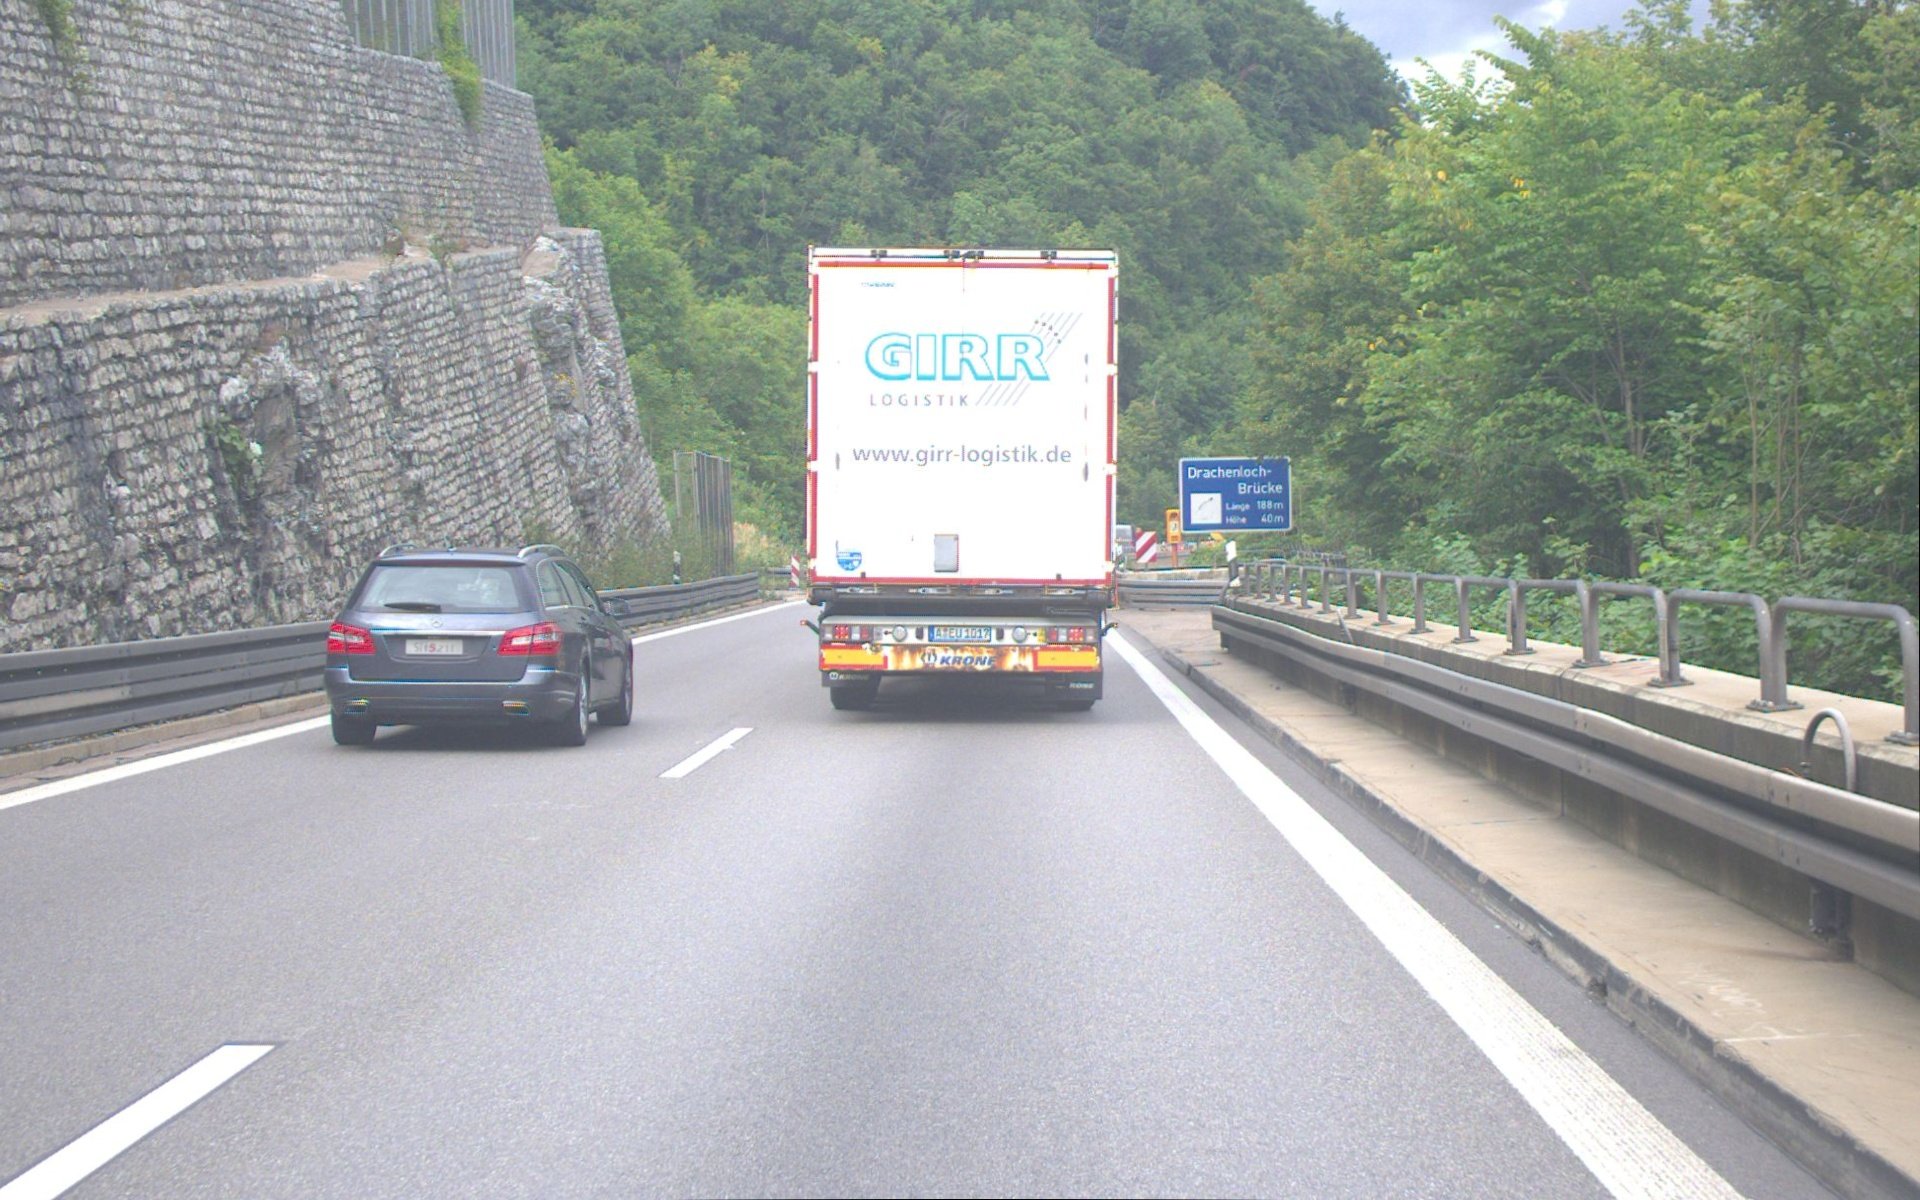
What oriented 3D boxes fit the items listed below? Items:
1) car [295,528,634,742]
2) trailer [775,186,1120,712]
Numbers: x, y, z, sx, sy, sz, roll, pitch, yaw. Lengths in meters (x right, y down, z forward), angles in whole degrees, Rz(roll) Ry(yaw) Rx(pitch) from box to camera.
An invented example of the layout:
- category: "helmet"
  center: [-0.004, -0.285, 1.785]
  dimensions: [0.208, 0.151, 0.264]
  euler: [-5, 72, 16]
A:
- category: "car"
  center: [-3.690, 0.230, 26.371]
  dimensions: [1.883, 1.505, 4.419]
  euler: [0, 0, 1]
- category: "trailer"
  center: [0.067, -1.280, 34.173]
  dimensions: [2.813, 4.288, 12.244]
  euler: [0, 0, 2]
